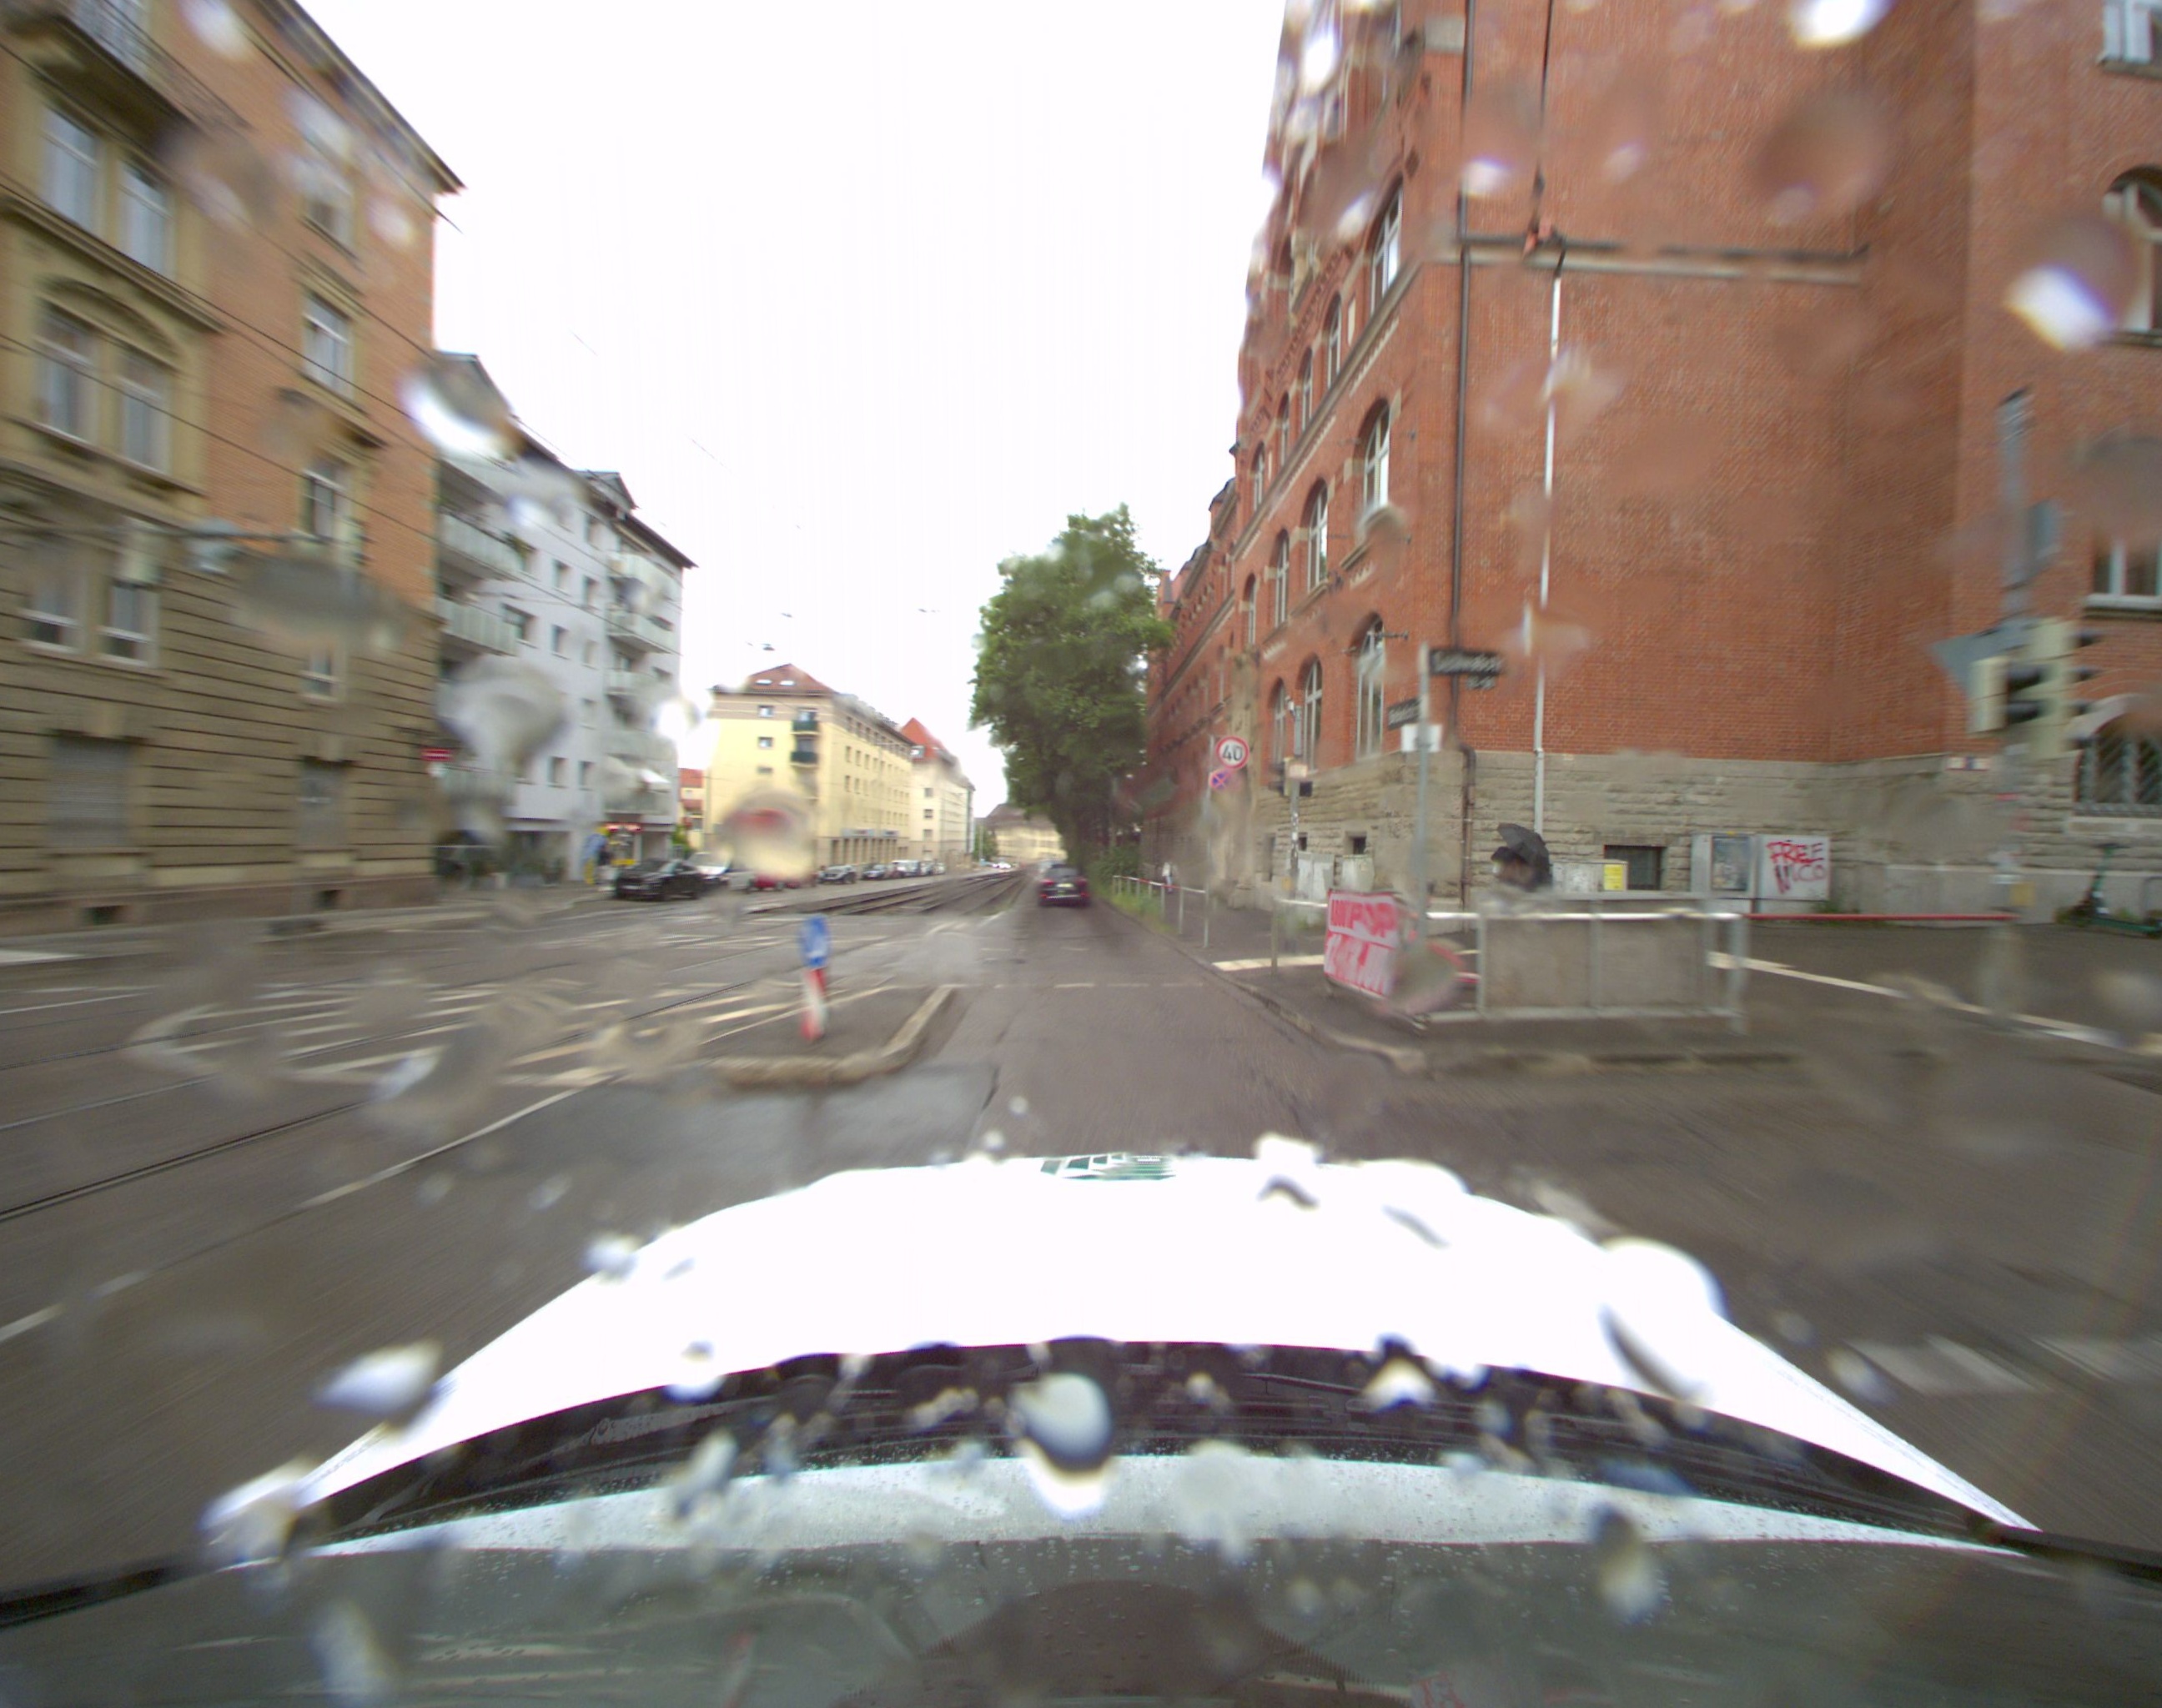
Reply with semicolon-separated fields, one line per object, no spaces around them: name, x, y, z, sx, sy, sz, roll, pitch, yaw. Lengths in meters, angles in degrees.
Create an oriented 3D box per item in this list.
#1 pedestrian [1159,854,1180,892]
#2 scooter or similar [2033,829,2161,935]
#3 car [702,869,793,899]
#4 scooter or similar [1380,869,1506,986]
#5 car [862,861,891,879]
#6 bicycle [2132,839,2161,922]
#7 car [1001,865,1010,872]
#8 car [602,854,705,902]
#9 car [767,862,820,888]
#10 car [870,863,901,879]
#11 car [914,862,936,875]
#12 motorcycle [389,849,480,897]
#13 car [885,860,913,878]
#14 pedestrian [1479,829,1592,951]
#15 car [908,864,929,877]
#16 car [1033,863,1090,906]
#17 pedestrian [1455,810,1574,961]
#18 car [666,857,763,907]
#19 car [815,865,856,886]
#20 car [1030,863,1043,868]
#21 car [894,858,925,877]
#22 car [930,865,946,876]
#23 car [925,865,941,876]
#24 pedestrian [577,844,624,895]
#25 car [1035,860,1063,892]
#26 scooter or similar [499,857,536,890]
pedestrian;4.017;0.855;36.998;0.820;1.679;0.860;1;-1;0
scooter or similar;14.614;0.362;11.553;0.407;1.419;1.517;0;1;-1
car;-17.123;1.517;42.015;1.763;1.434;4.006;1;-1;32
scooter or similar;4.065;0.799;9.231;1.236;1.250;0.641;-1;-2;19
car;-17.677;1.371;70.488;1.850;1.508;4.978;1;-1;-7
bicycle;16.184;0.437;11.512;0.412;1.202;1.666;-2;4;-3
car;-17.319;3.312;187.080;1.707;1.462;4.277;0;-1;-1
car;-16.239;0.901;31.207;1.729;1.651;4.359;1;-1;-3
car;-16.917;1.212;48.085;1.648;1.451;4.073;1;-1;0
car;-18.297;1.587;76.452;1.846;1.432;4.827;2;-1;-2
car;-18.671;1.720;97.614;1.809;1.499;4.578;2;-1;-2
motorcycle;-21.004;0.608;26.540;0.927;1.376;2.307;10;-1;-2
car;-18.389;1.554;82.395;1.862;1.717;4.456;1;-1;-2
pedestrian;6.392;0.491;11.511;0.956;1.625;1.072;-1;-1;-3
car;-18.501;1.840;93.078;1.687;1.439;4.046;1;-1;-2
car;-0.774;1.094;30.254;1.929;1.453;4.312;2;-1;-3
pedestrian;5.692;0.393;10.767;0.956;1.887;1.072;-1;-1;-3
car;-16.639;1.205;37.292;2.065;2.009;5.297;4;-1;-2
car;-17.186;1.520;57.122;1.676;1.396;4.616;1;-1;-3
car;-13.715;3.671;251.580;2.009;1.542;3.956;2;-2;-36
car;-18.470;1.440;88.062;1.986;1.905;5.460;2;-1;1
car;-19.456;2.254;110.817;1.705;1.450;3.536;3;-1;-4
car;-19.314;2.139;106.282;1.701;1.397;3.927;2;-1;-6
pedestrian;-18.894;0.621;32.078;1.171;1.929;1.174;2;-1;-10
car;-2.105;1.406;52.812;1.737;2.014;3.898;1;-1;-4
scooter or similar;-21.906;0.747;31.660;1.090;1.209;0.315;-2;-1;-14
